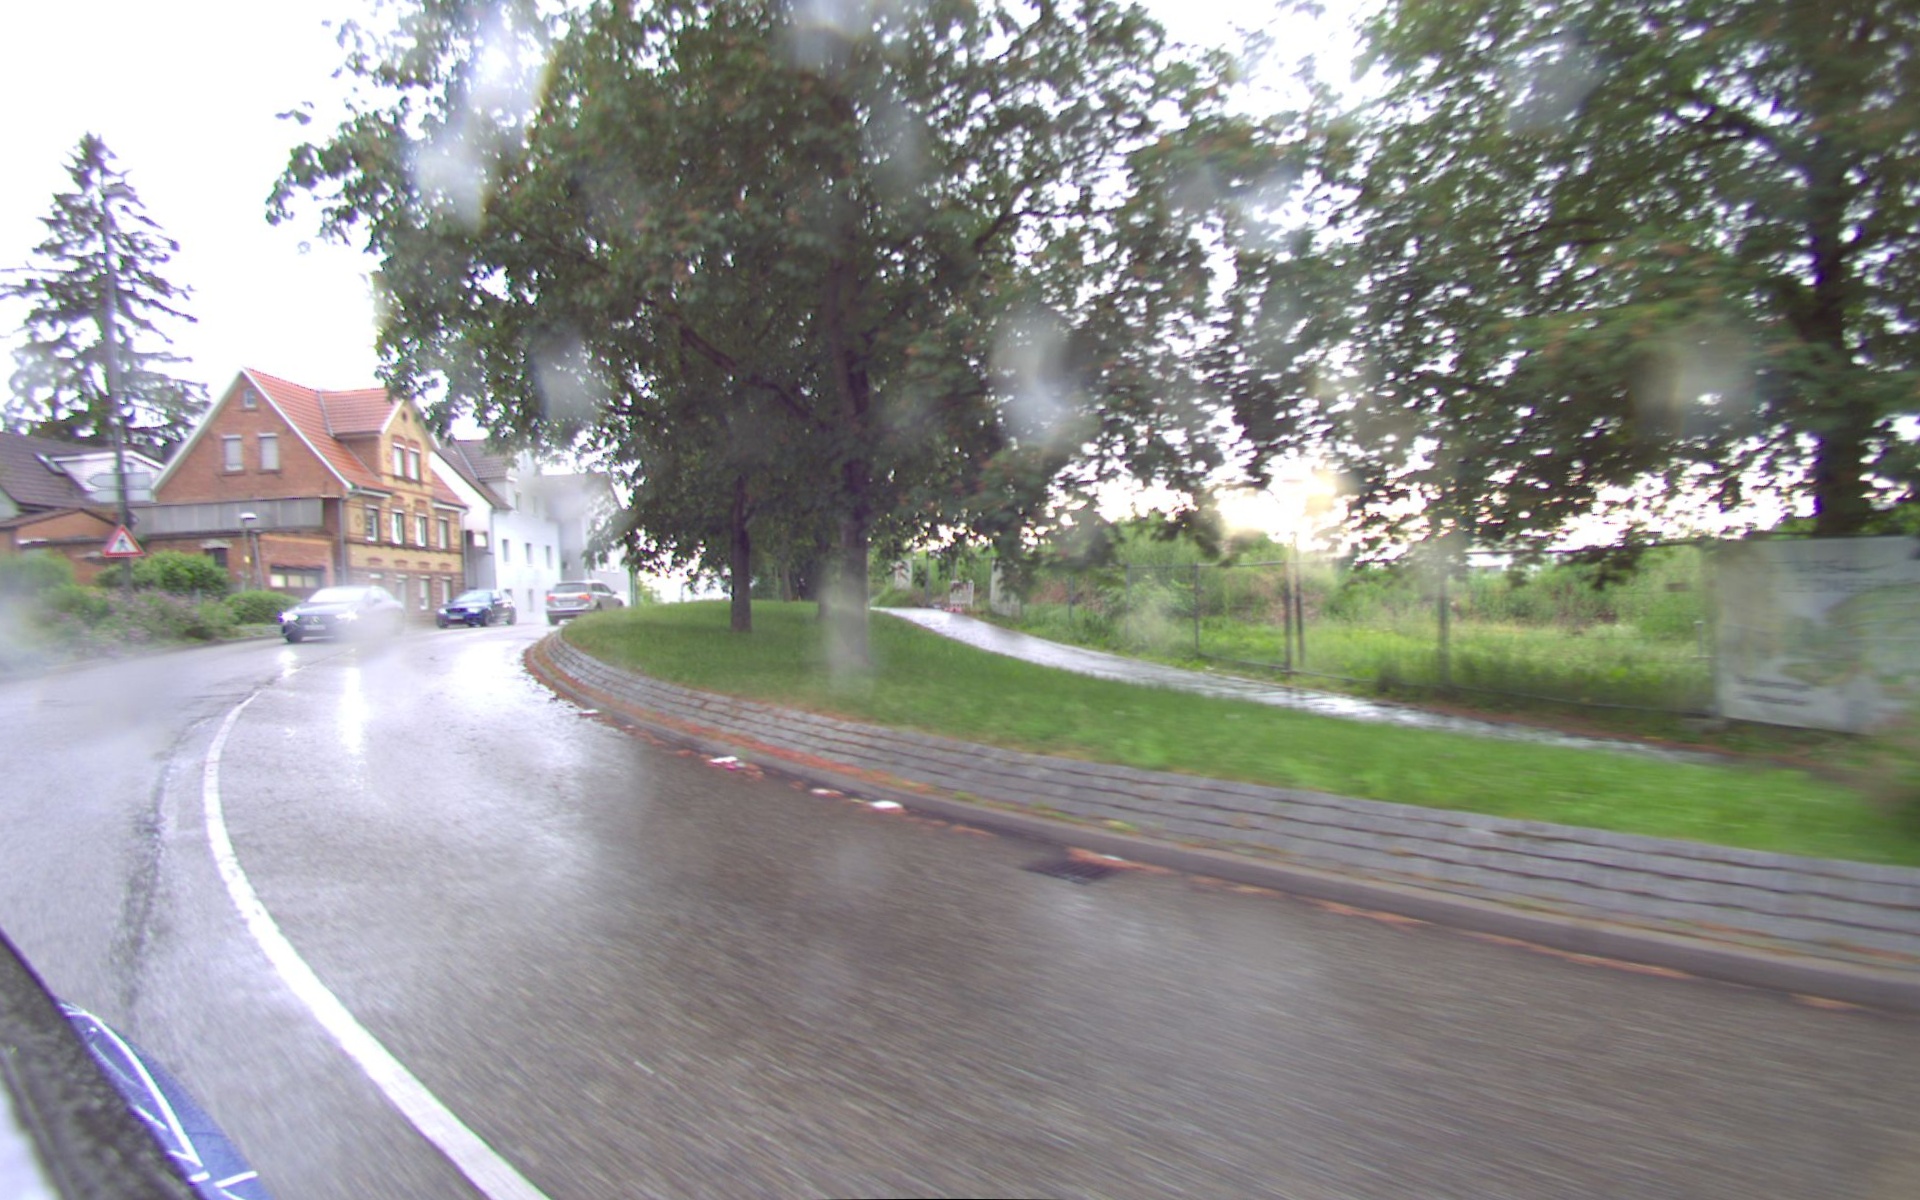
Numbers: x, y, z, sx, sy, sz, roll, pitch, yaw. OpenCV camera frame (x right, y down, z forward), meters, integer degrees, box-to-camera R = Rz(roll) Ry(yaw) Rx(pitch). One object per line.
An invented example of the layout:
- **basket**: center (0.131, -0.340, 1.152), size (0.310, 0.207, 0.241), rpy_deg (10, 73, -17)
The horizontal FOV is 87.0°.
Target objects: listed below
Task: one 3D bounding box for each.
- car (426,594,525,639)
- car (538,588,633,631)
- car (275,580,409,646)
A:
- **car**: center (-18.429, 0.691, 38.745), size (1.764, 1.357, 4.949), rpy_deg (-4, -3, -5)
- **car**: center (-14.240, 0.315, 38.738), size (1.712, 1.554, 4.293), rpy_deg (0, 1, 5)
- **car**: center (-17.257, 0.433, 28.536), size (1.809, 1.525, 4.860), rpy_deg (-5, -2, -14)
